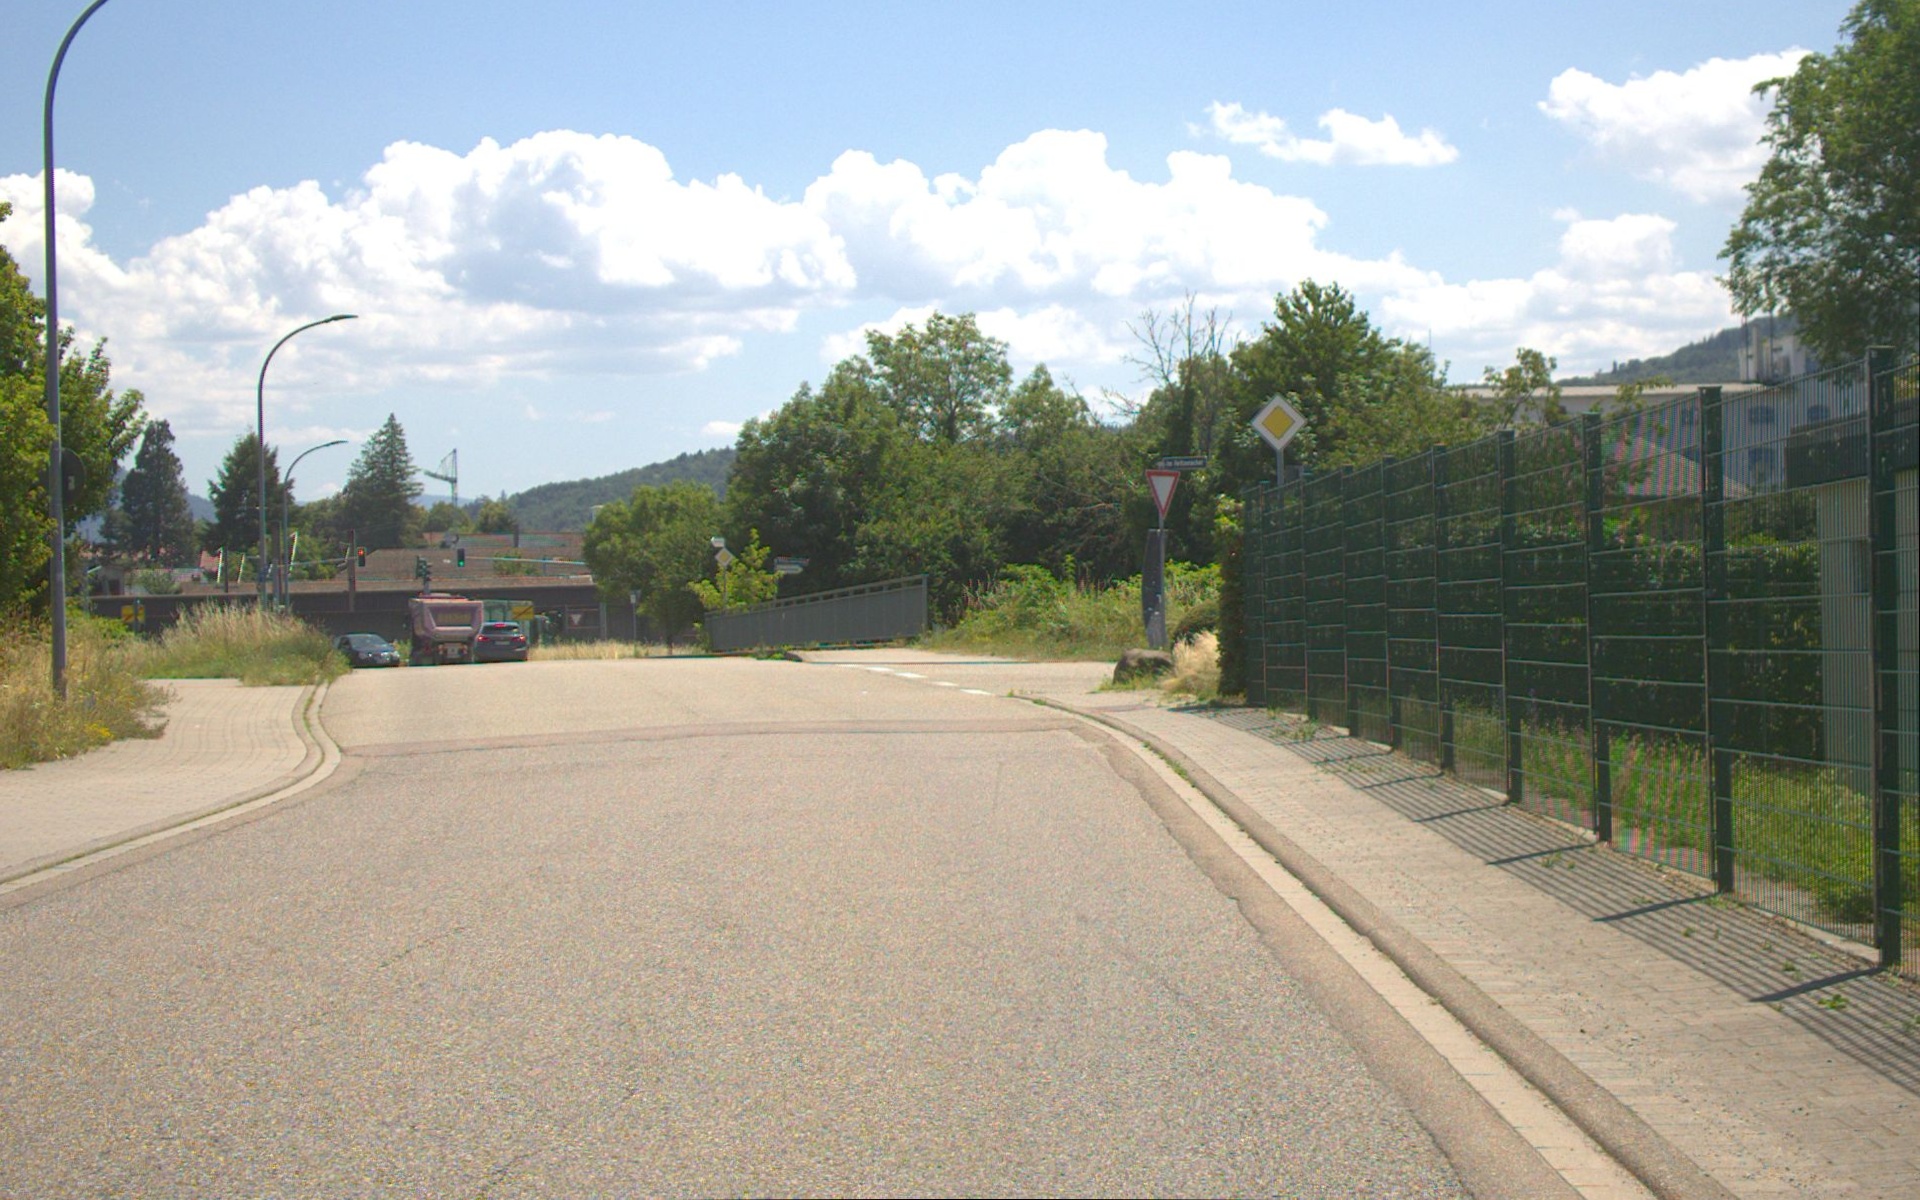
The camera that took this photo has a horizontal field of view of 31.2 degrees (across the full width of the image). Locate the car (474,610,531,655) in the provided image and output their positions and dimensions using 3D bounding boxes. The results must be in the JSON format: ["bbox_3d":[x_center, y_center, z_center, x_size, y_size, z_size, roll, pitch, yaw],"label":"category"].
[{"bbox_3d":[-15.705,1.113,117.920,1.775,1.443,3.453,0,1,-10],"label":"car"}]

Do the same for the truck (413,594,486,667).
[{"bbox_3d":[-20.663,1.197,138.950,2.682,2.763,6.091,0,1,-11],"label":"truck"}]
